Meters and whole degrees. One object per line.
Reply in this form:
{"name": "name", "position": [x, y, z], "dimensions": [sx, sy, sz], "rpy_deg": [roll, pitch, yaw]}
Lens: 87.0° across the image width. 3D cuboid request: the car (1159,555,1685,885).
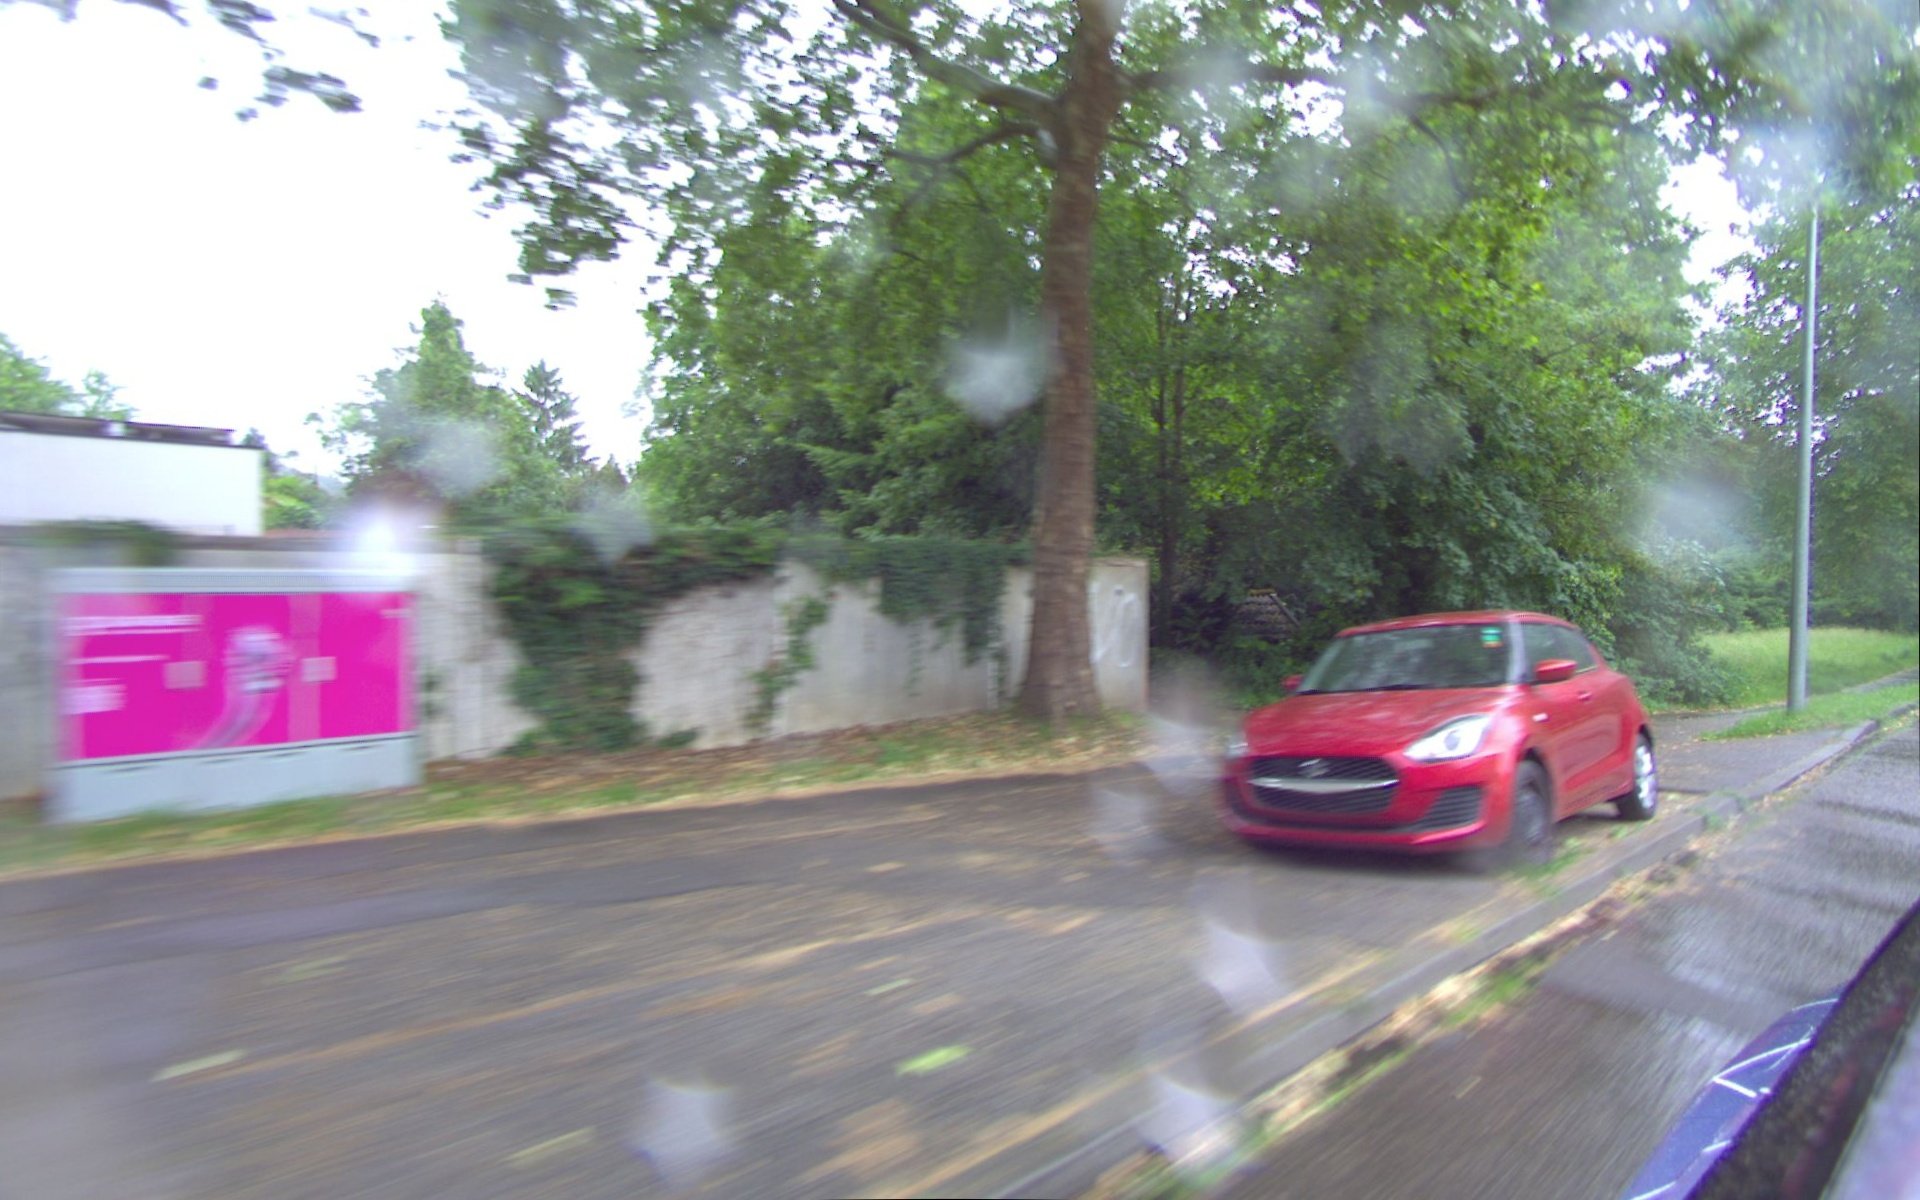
{"name": "car", "position": [3.187, 0.694, 6.686], "dimensions": [3.679, 1.538, 1.820], "rpy_deg": [3, -7, -43]}
